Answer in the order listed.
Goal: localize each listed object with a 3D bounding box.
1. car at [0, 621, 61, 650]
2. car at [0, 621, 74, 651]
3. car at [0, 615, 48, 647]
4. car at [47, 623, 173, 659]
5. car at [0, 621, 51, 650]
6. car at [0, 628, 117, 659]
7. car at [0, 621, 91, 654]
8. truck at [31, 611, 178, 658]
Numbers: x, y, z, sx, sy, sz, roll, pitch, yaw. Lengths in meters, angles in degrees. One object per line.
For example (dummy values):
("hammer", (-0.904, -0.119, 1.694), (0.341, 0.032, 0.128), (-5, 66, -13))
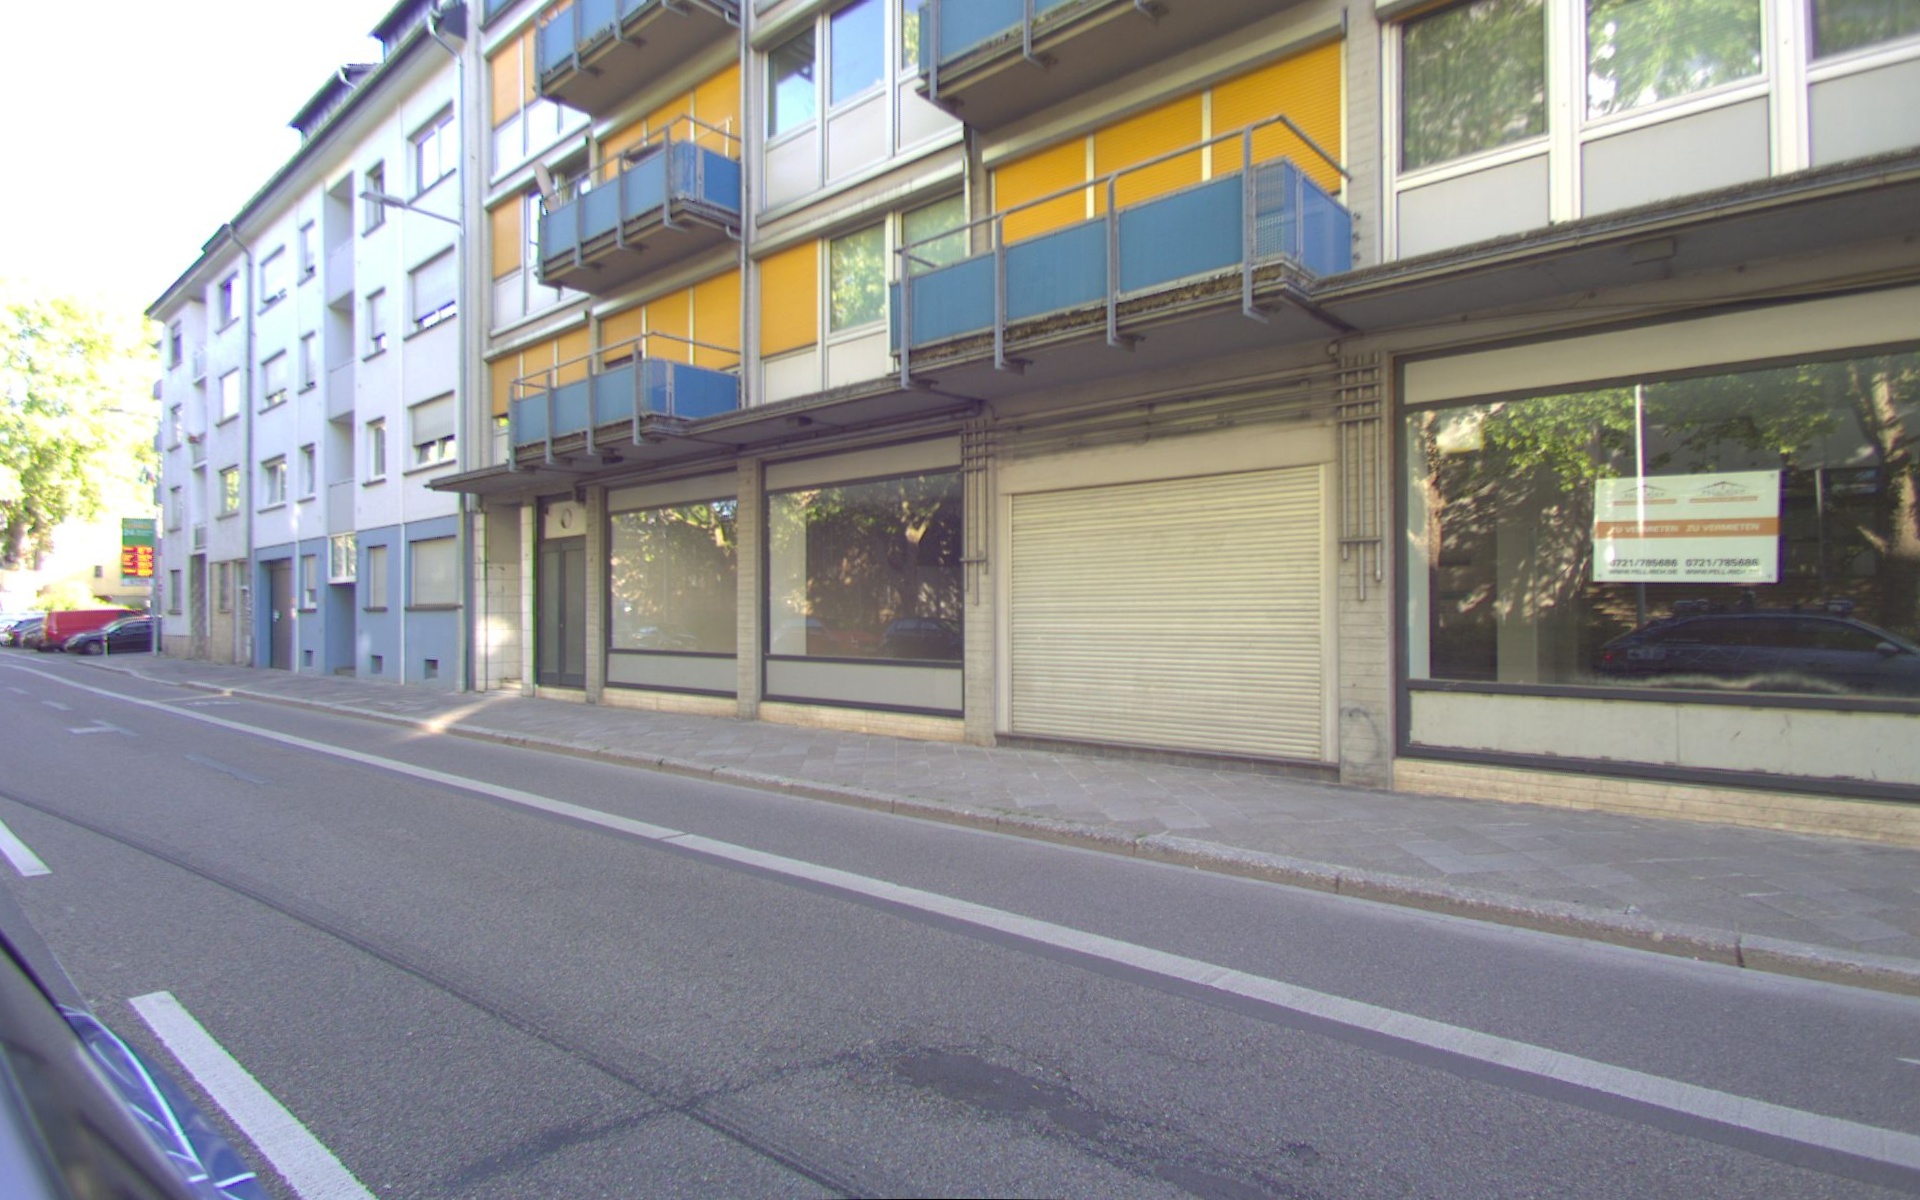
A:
("car", (-55.064, 2.079, 58.998), (1.715, 1.594, 3.660), (-1, 0, 35))
("car", (-52.880, 2.034, 57.469), (1.656, 1.599, 3.615), (-1, 0, 35))
("car", (-59.756, 1.965, 63.832), (1.693, 1.953, 3.224), (-1, 0, 43))
("car", (-36.837, 1.746, 43.953), (1.780, 1.404, 3.947), (-1, 0, 39))
("car", (-56.884, 2.119, 60.390), (1.740, 1.600, 3.685), (-1, 0, 35))
("car", (-43.235, 2.036, 48.597), (1.904, 1.282, 3.983), (-1, 0, 39))
("car", (-50.819, 2.037, 55.965), (1.699, 1.640, 3.952), (-1, 0, 35))
("truck", (-40.347, 1.581, 47.833), (1.998, 2.036, 5.024), (-1, 0, 40))
